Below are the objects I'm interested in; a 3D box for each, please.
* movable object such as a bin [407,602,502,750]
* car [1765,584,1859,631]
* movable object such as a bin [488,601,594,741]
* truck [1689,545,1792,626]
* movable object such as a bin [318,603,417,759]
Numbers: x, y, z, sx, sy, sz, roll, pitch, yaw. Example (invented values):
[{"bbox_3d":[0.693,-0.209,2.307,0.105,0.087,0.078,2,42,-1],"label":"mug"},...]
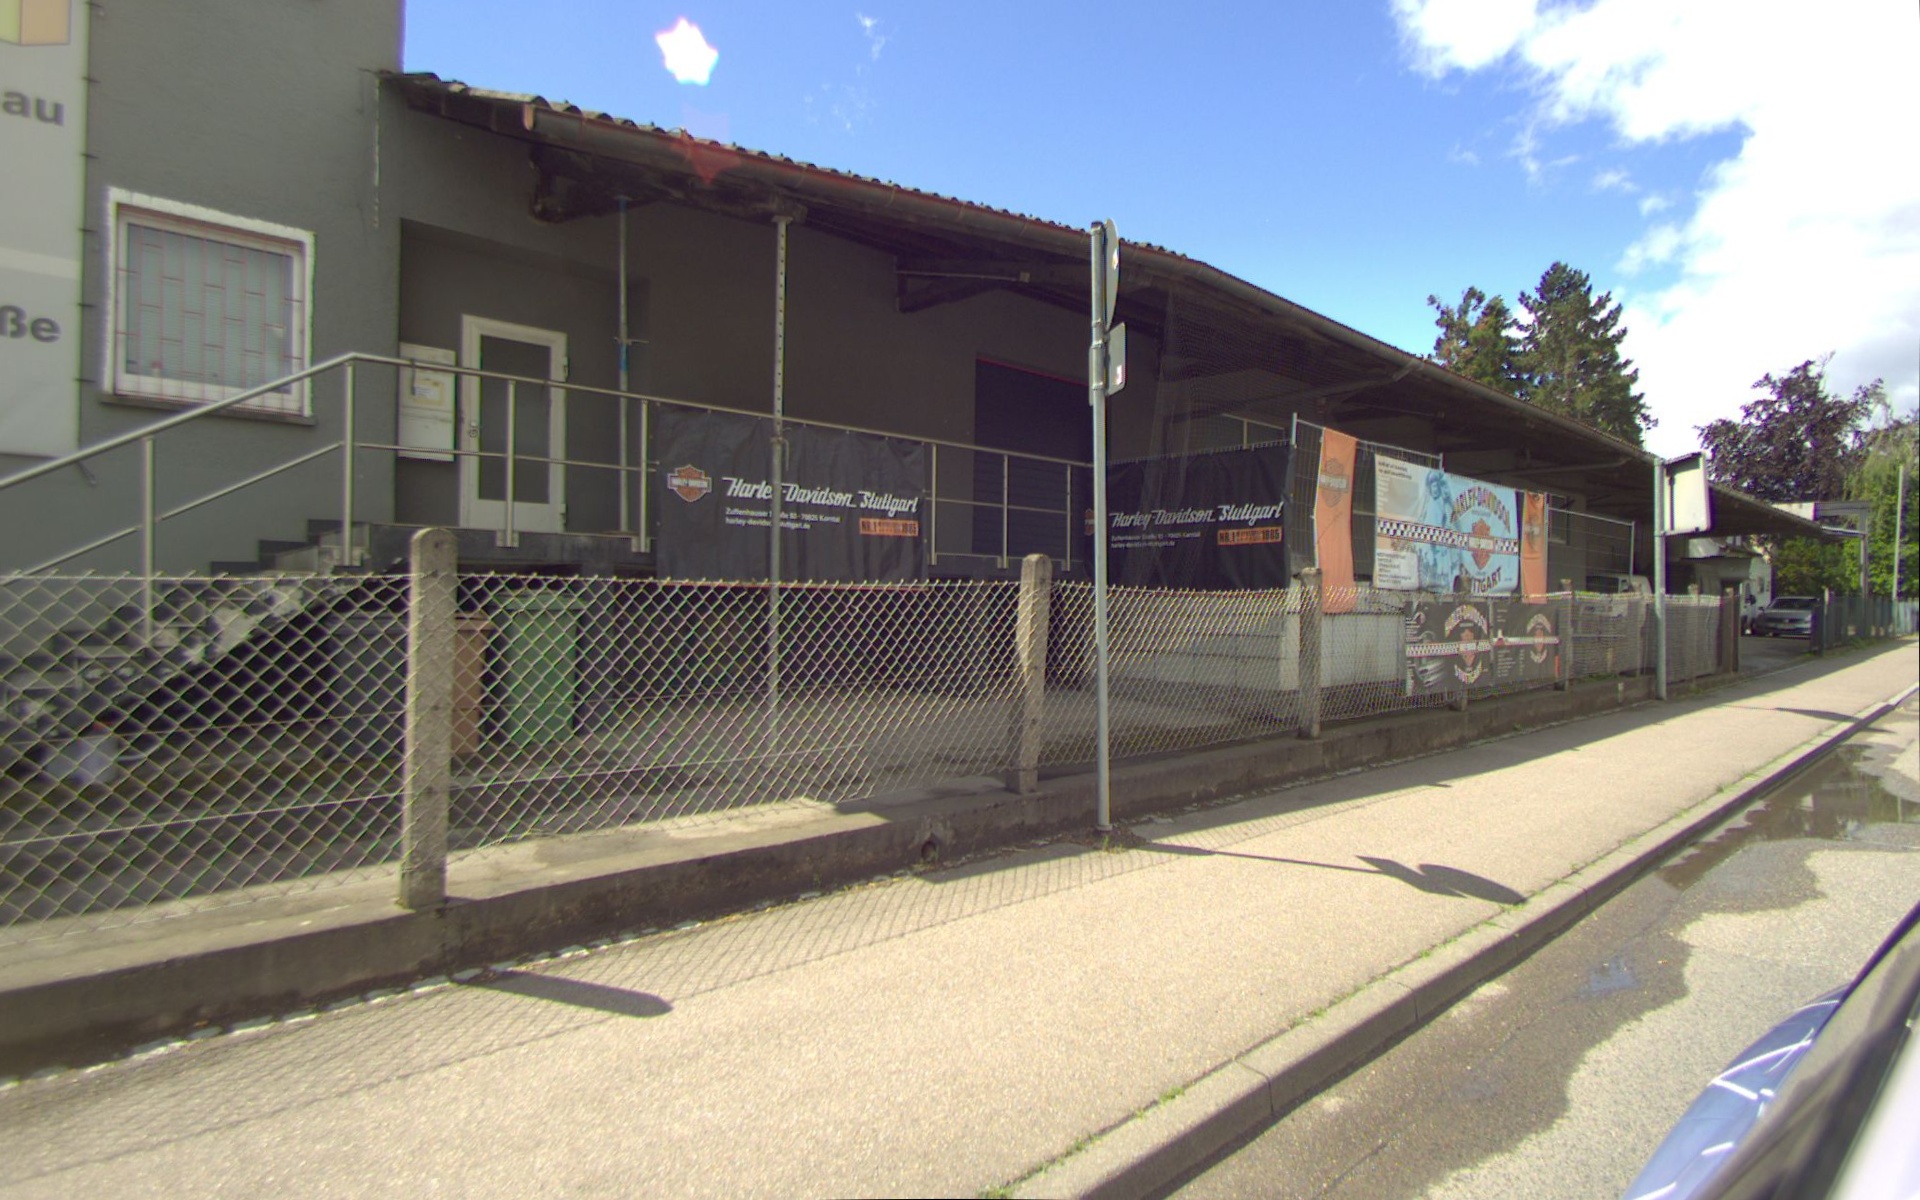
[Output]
[{"bbox_3d":[-3.431,0.490,6.865,0.466,0.942,0.482,0,0,-42],"label":"movable object such as a bin"},{"bbox_3d":[29.873,0.208,35.441,5.114,1.549,1.860,-1,1,-42],"label":"car"},{"bbox_3d":[-3.006,0.484,7.256,0.574,0.942,0.482,0,0,-42],"label":"movable object such as a bin"},{"bbox_3d":[29.526,-0.533,38.230,5.112,2.864,2.089,-1,0,-41],"label":"truck"},{"bbox_3d":[-3.814,0.496,6.515,0.466,0.942,0.482,0,0,-42],"label":"movable object such as a bin"}]
